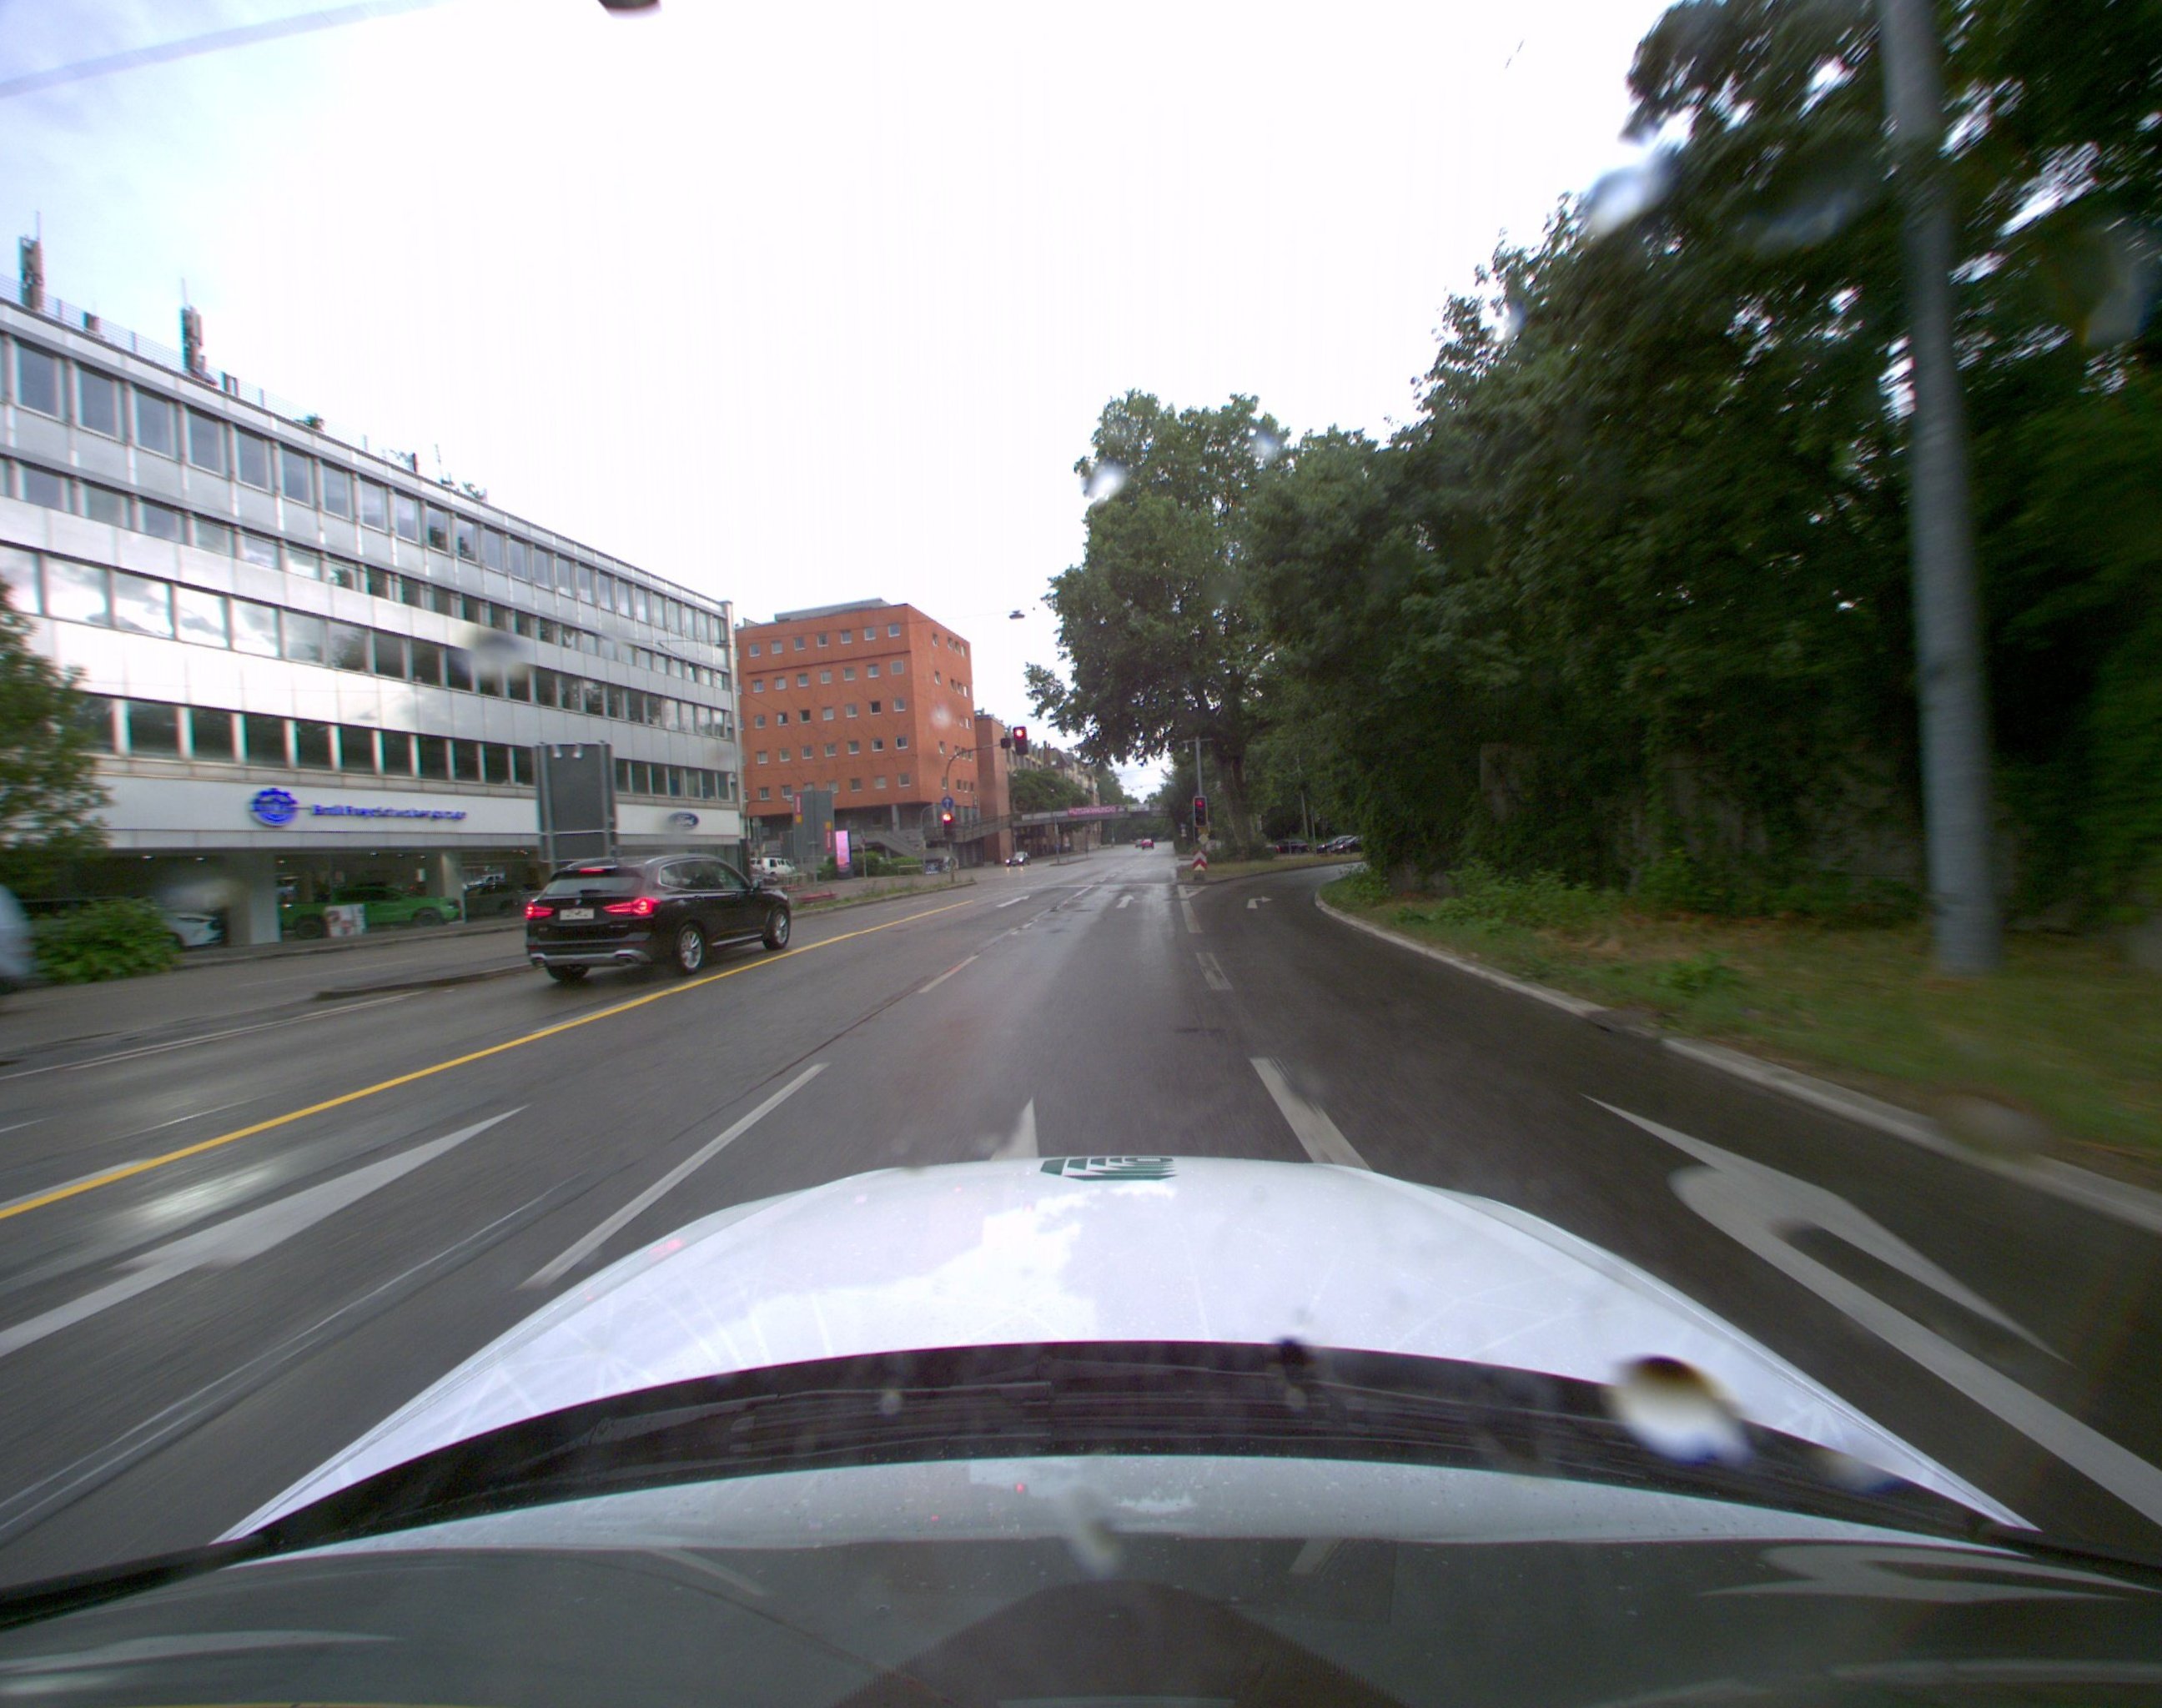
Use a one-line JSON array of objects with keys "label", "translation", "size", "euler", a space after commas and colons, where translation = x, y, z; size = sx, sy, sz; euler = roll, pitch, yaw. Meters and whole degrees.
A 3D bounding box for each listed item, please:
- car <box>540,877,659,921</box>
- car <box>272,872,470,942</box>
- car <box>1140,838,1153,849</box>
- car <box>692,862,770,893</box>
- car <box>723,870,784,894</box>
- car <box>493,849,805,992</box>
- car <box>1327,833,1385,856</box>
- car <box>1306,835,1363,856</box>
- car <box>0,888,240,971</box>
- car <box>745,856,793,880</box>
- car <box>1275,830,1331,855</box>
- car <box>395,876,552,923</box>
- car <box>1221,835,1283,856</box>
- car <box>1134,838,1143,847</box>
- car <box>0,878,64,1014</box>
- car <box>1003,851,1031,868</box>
[{"label": "car", "translation": [-24.887, 2.303, 42.234], "size": [4.749, 1.738, 1.997], "euler": [-5, 0, -5]}, {"label": "car", "translation": [-26.572, 1.945, 30.773], "size": [5.222, 2.011, 1.981], "euler": [-5, 0, -30]}, {"label": "car", "translation": [11.297, -1.825, 141.485], "size": [2.112, 1.734, 4.202], "euler": [-2, 1, 3]}, {"label": "car", "translation": [-26.459, 1.760, 61.586], "size": [5.040, 1.845, 2.008], "euler": [-6, -1, 14]}, {"label": "car", "translation": [-25.536, 2.202, 63.542], "size": [4.107, 1.446, 1.591], "euler": [-5, 0, 12]}, {"label": "car", "translation": [-6.059, 0.801, 12.252], "size": [1.939, 1.597, 4.674], "euler": [-2, 1, 3]}, {"label": "car", "translation": [20.910, -0.723, 61.972], "size": [3.854, 1.485, 1.667], "euler": [-3, -1, -10]}, {"label": "car", "translation": [20.514, -0.722, 66.029], "size": [3.994, 1.486, 1.869], "euler": [-3, 0, -15]}, {"label": "car", "translation": [-29.257, 2.221, 24.604], "size": [5.013, 1.897, 1.977], "euler": [-5, 0, -38]}, {"label": "car", "translation": [-28.308, 1.251, 74.041], "size": [1.982, 2.013, 4.862], "euler": [1, 0, 8]}, {"label": "car", "translation": [19.976, -1.049, 73.446], "size": [4.333, 1.835, 2.131], "euler": [-5, 0, -6]}, {"label": "car", "translation": [-27.151, 1.999, 36.568], "size": [5.189, 1.520, 1.993], "euler": [-5, 0, -10]}, {"label": "car", "translation": [13.990, -0.674, 66.767], "size": [4.592, 1.451, 1.772], "euler": [-4, 0, -2]}, {"label": "car", "translation": [11.832, -2.414, 167.402], "size": [1.755, 1.696, 3.711], "euler": [-5, 0, 5]}, {"label": "car", "translation": [-15.365, 1.319, 9.319], "size": [1.725, 1.786, 4.307], "euler": [-5, 0, 5]}, {"label": "car", "translation": [-6.331, 0.505, 80.869], "size": [1.984, 1.519, 4.007], "euler": [-4, 0, 6]}]
